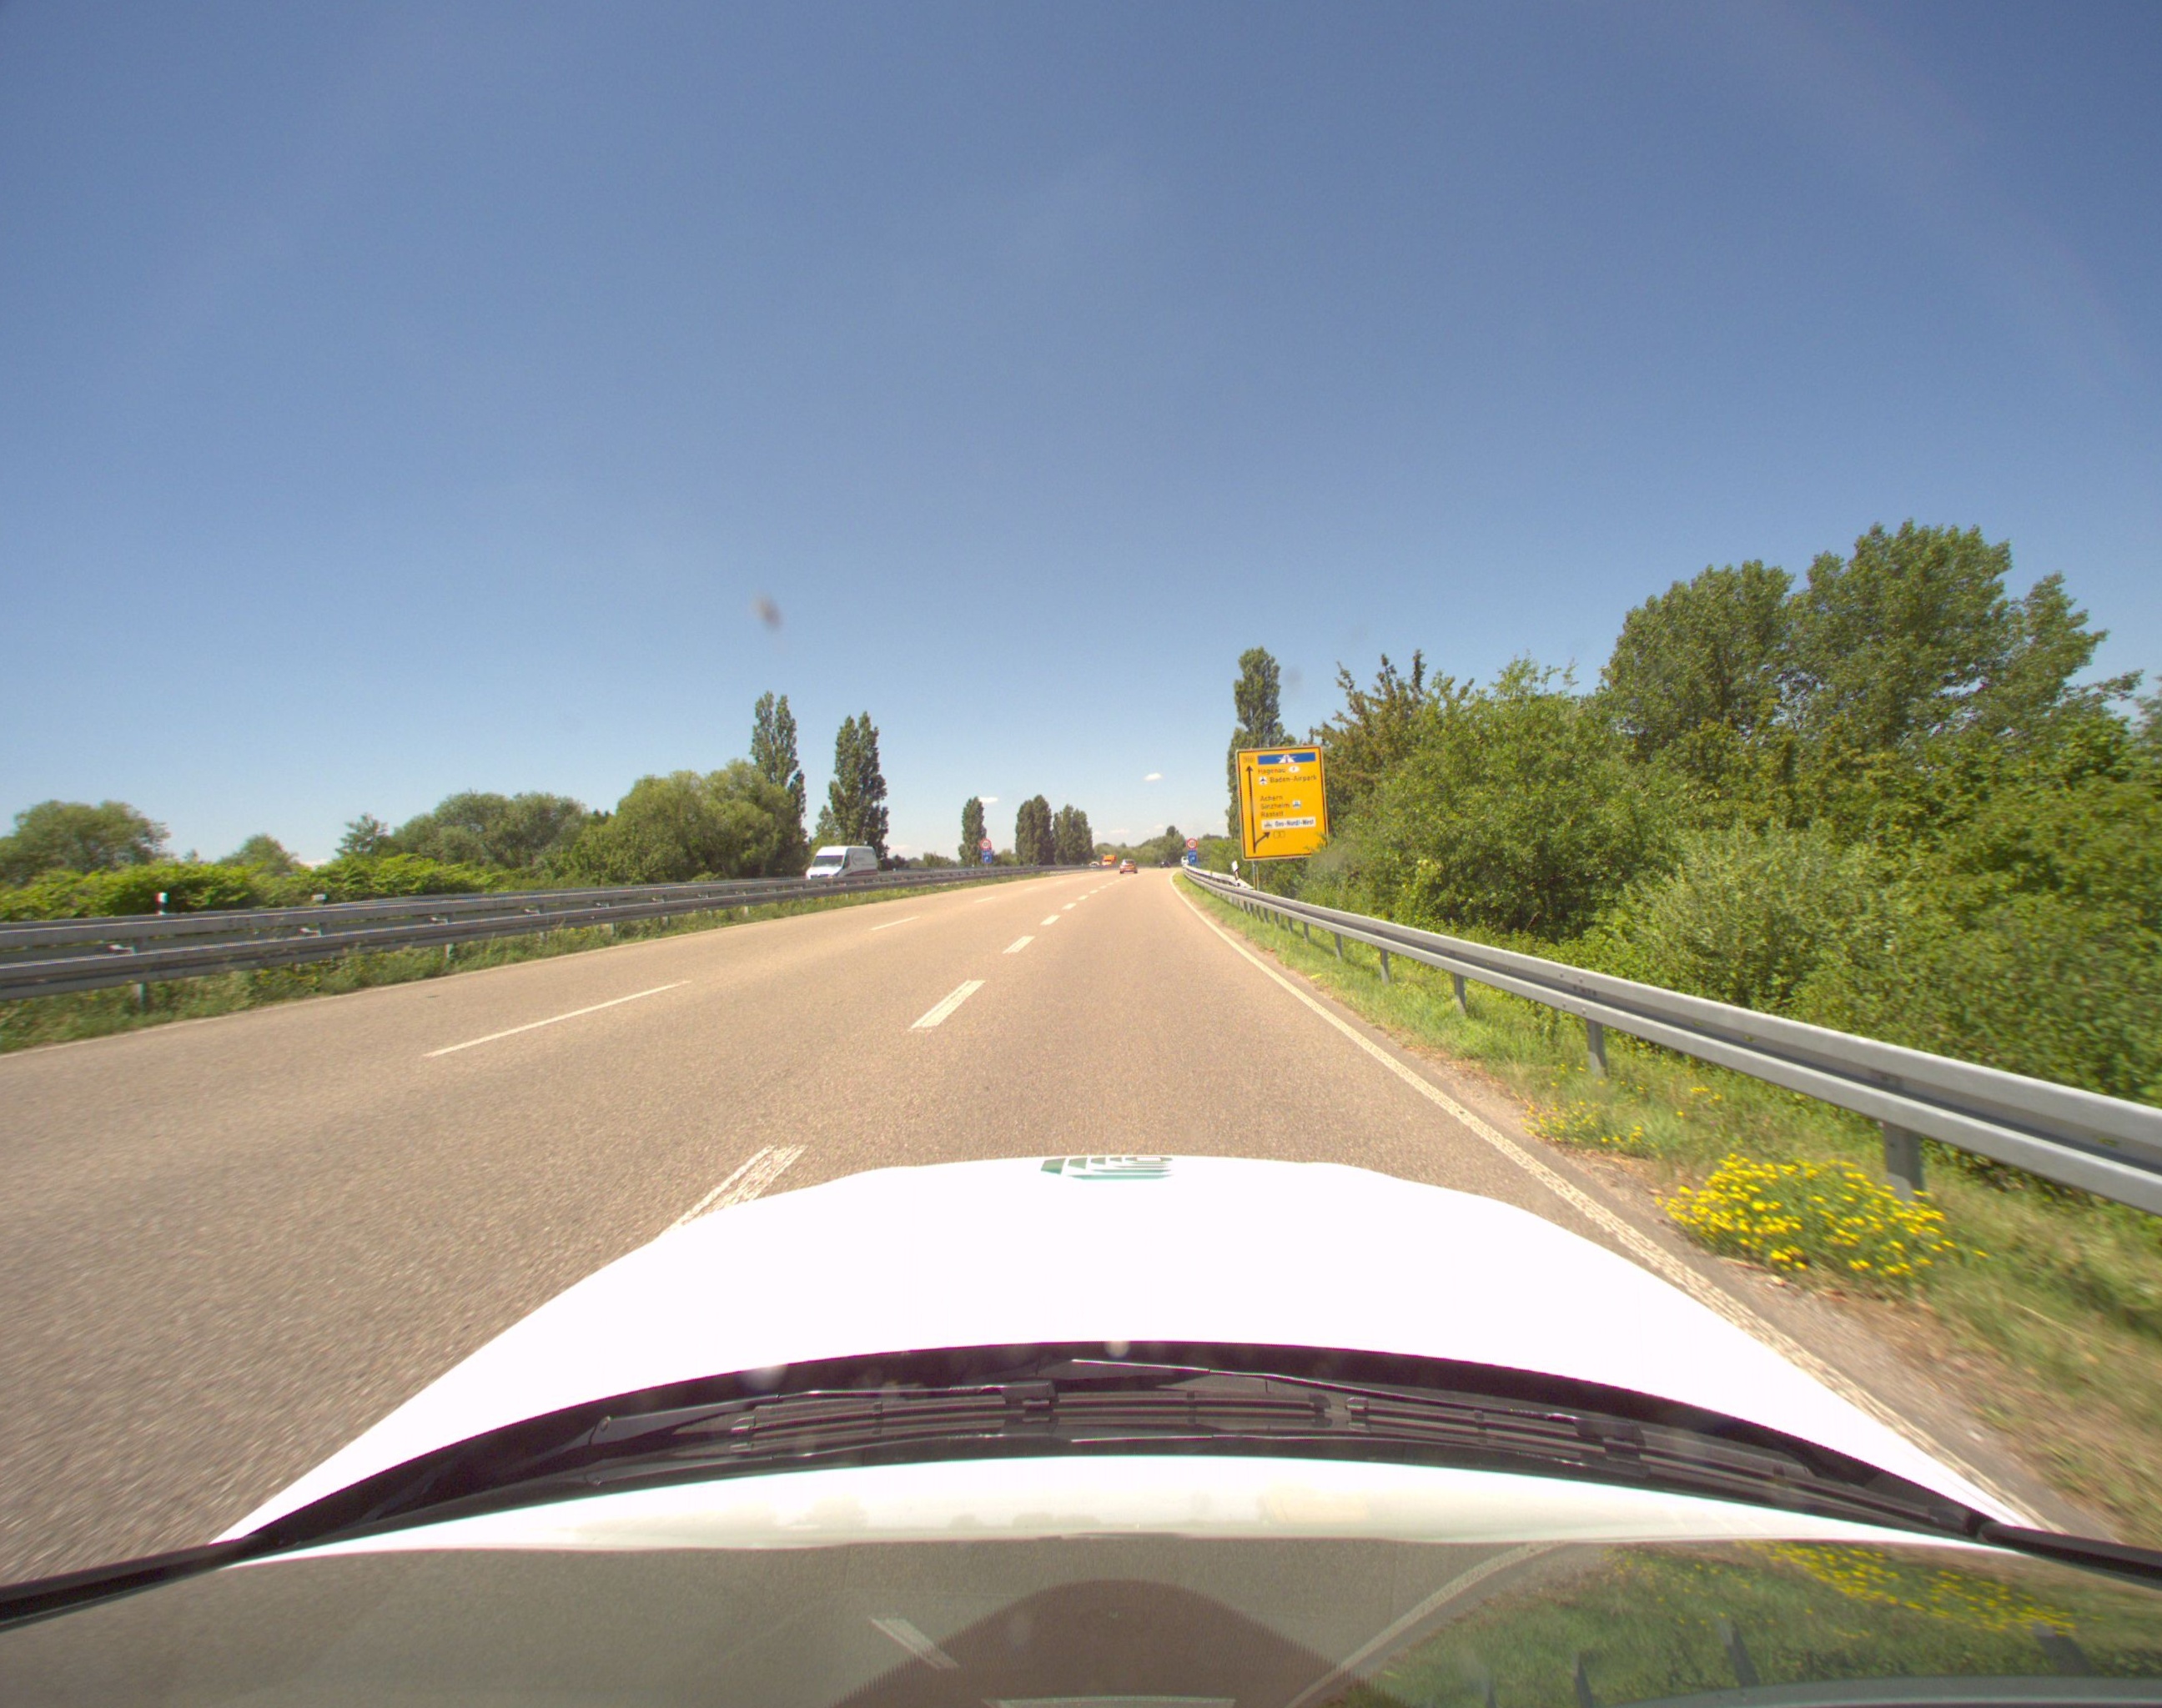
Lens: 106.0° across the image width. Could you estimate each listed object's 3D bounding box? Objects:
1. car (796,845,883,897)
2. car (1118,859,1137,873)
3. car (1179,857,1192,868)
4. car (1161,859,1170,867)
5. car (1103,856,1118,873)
[{"bbox_3d":[-13.998,1.022,47.773,2.268,2.774,7.232,-2,-2,5],"label":"car"},{"bbox_3d":[4.935,1.236,86.145,1.832,1.464,4.006,-1,0,6],"label":"car"},{"bbox_3d":[18.904,1.540,147.393,1.828,1.895,4.014,-1,0,13],"label":"car"},{"bbox_3d":[18.082,1.916,174.108,1.933,1.464,4.008,-1,0,7],"label":"car"},{"bbox_3d":[6.127,2.089,168.213,2.292,3.292,7.045,-2,-1,9],"label":"car"}]
